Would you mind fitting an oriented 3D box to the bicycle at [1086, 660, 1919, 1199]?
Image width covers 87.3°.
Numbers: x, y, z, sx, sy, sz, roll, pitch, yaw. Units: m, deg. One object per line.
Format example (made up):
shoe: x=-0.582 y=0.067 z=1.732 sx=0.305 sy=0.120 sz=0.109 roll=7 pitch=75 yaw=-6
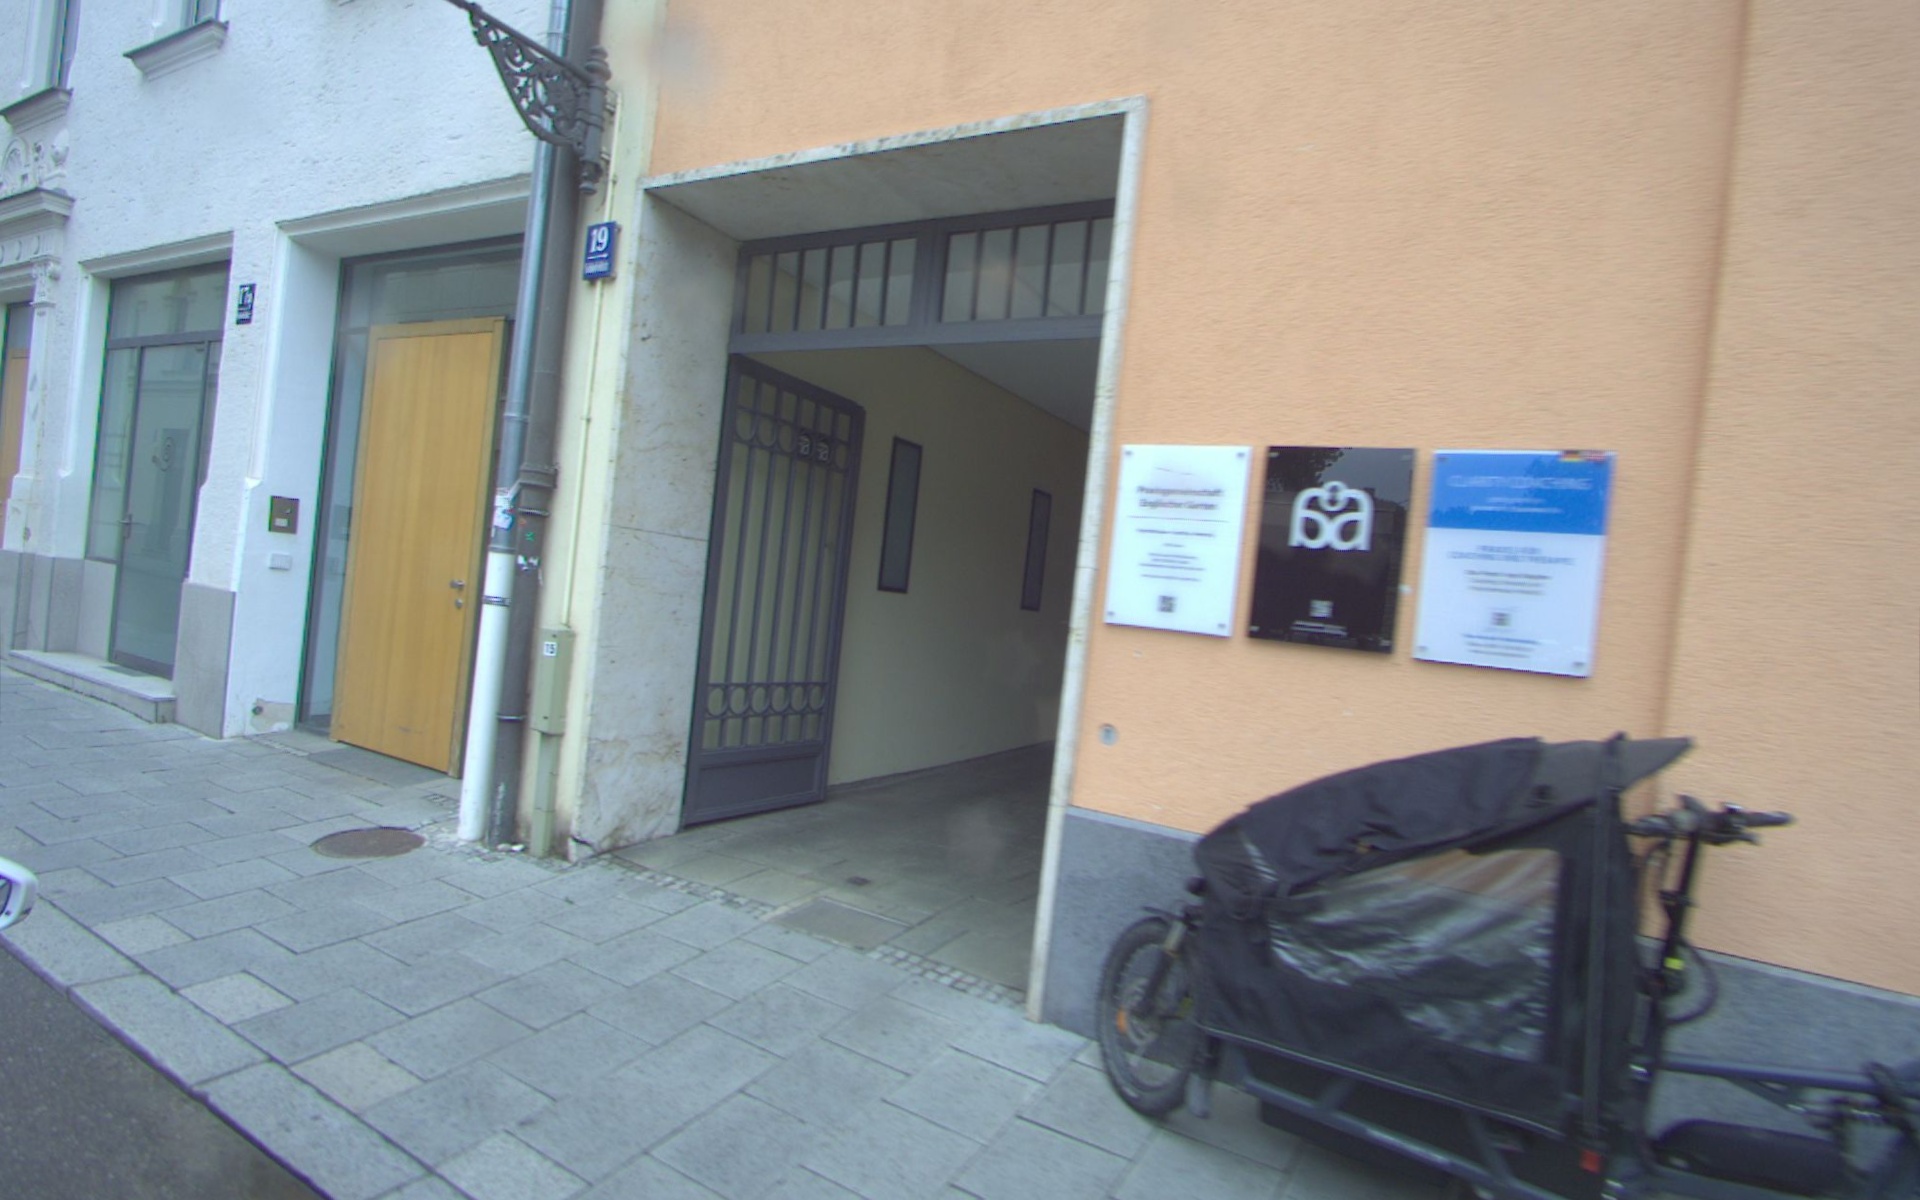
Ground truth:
bicycle: x=1.528 y=0.930 z=2.152 sx=2.343 sy=1.258 sz=0.679 roll=7 pitch=5 yaw=33
